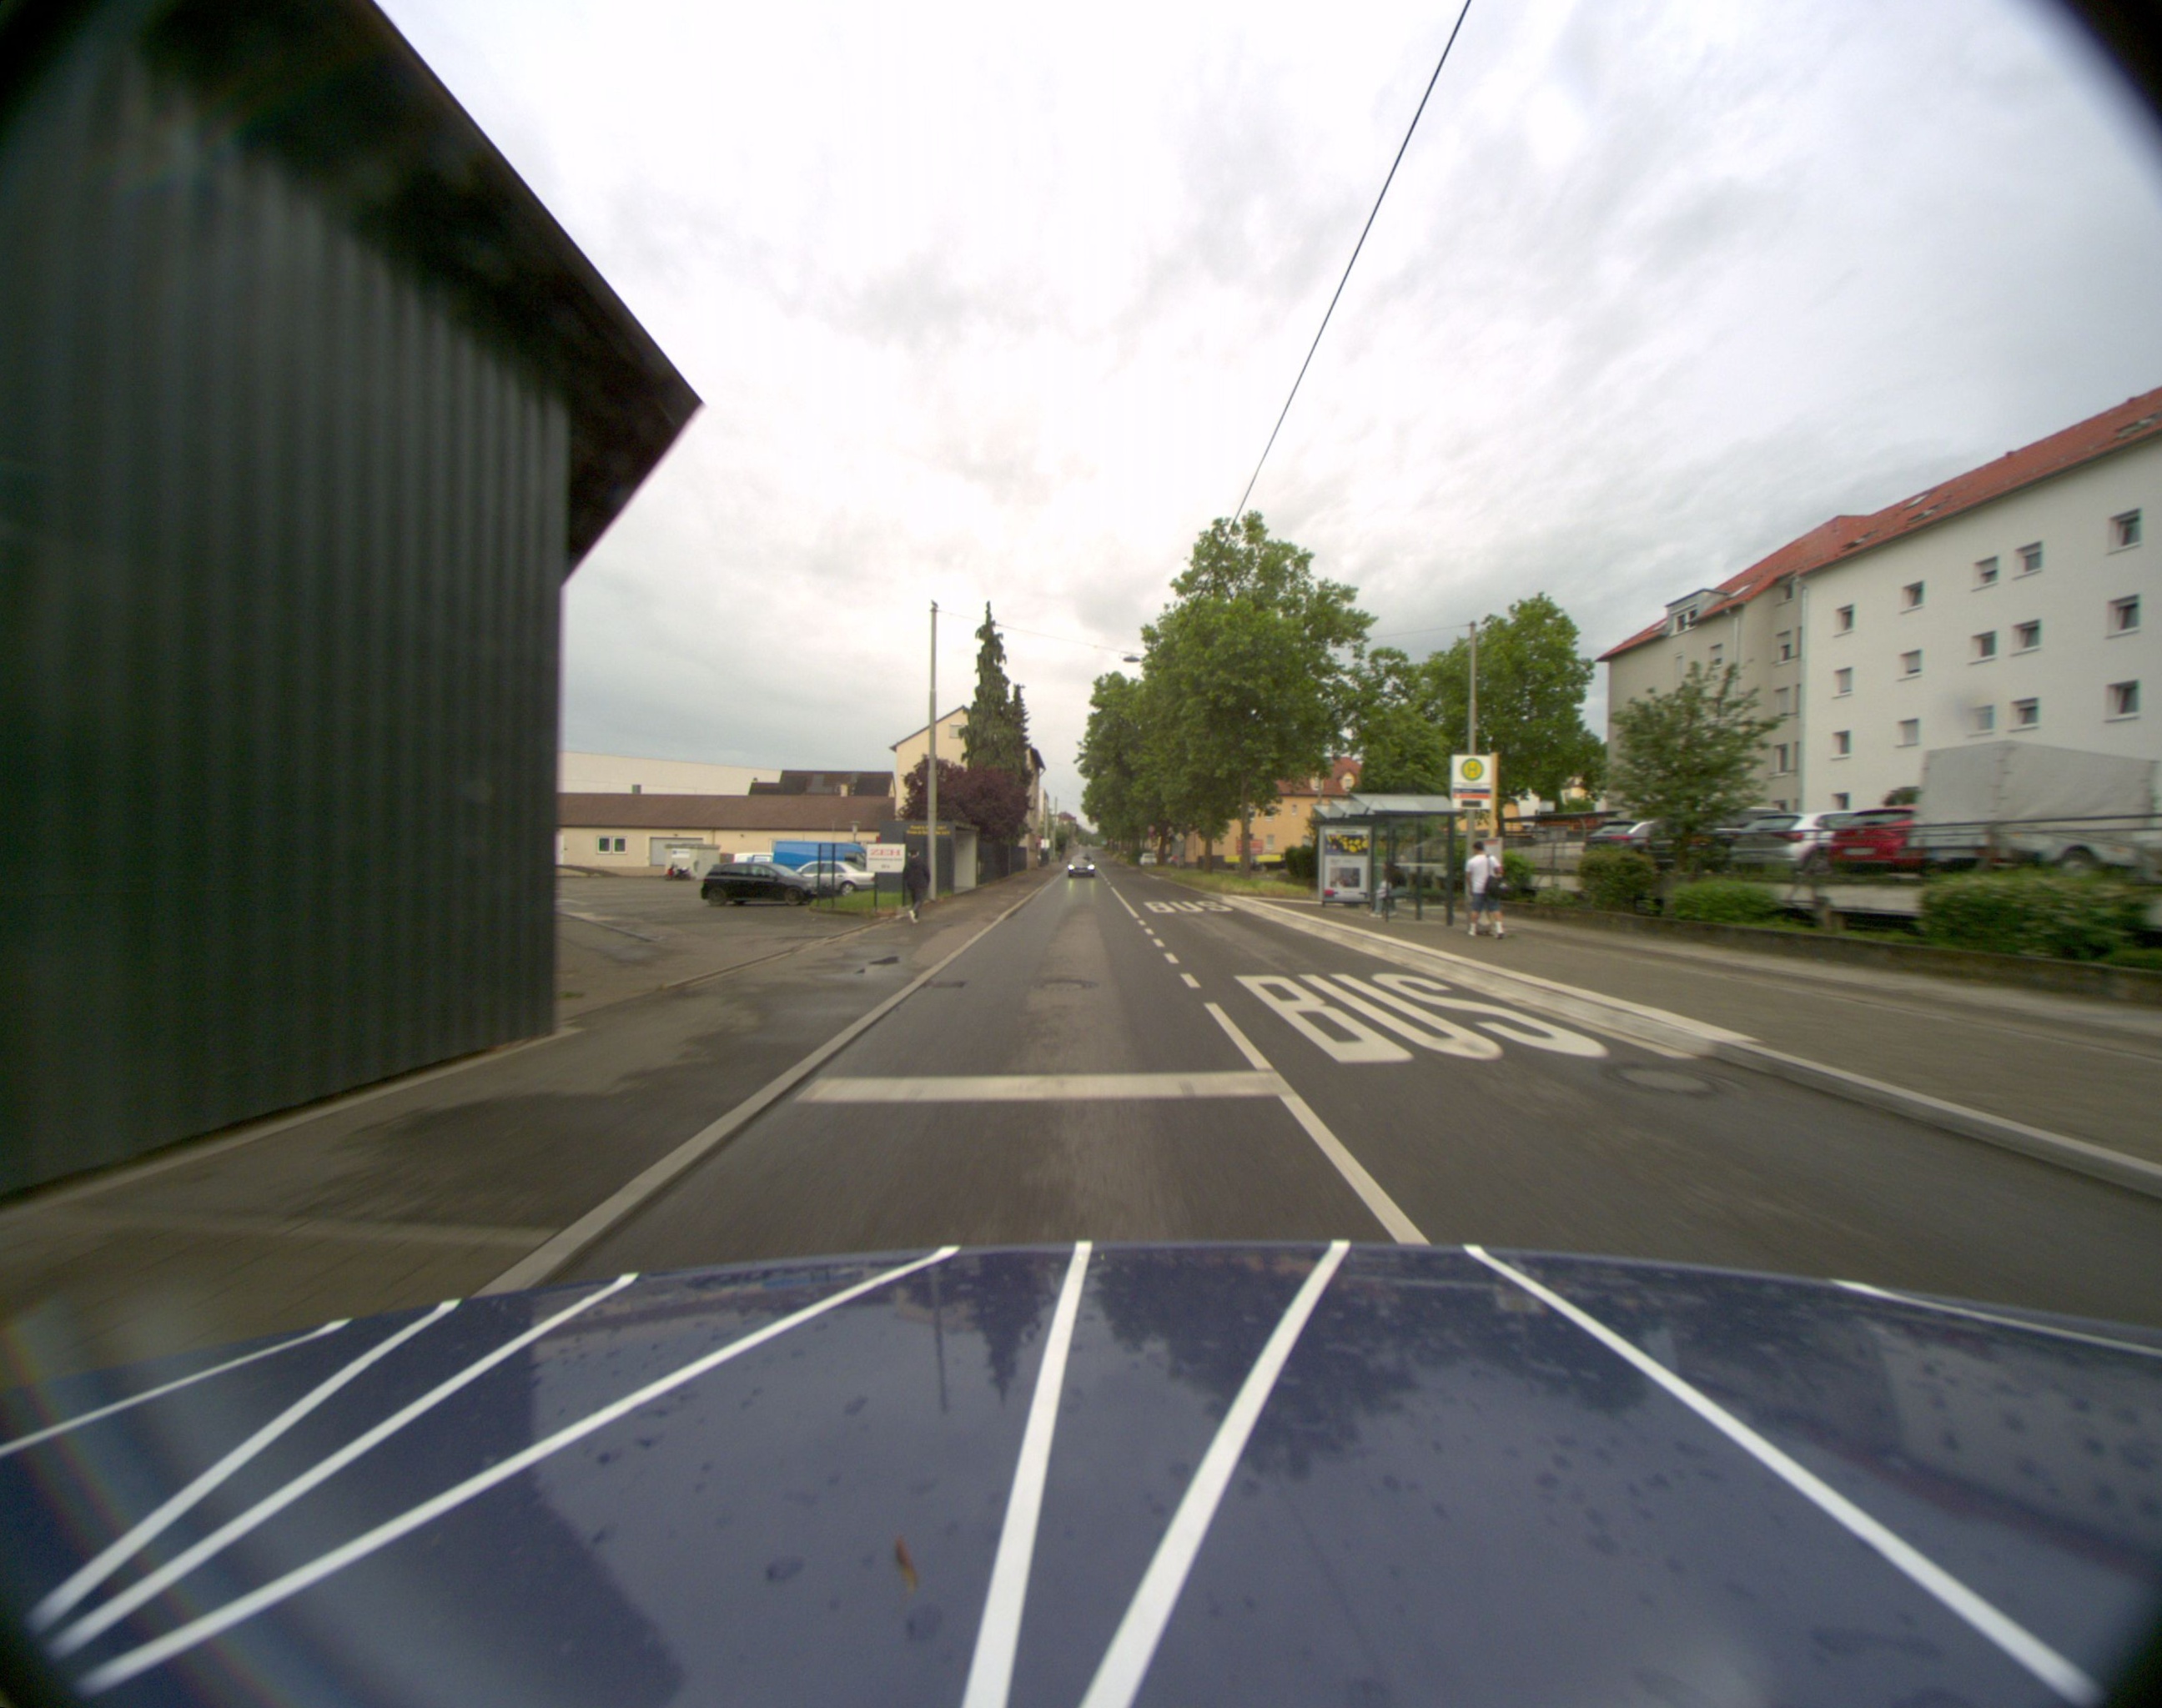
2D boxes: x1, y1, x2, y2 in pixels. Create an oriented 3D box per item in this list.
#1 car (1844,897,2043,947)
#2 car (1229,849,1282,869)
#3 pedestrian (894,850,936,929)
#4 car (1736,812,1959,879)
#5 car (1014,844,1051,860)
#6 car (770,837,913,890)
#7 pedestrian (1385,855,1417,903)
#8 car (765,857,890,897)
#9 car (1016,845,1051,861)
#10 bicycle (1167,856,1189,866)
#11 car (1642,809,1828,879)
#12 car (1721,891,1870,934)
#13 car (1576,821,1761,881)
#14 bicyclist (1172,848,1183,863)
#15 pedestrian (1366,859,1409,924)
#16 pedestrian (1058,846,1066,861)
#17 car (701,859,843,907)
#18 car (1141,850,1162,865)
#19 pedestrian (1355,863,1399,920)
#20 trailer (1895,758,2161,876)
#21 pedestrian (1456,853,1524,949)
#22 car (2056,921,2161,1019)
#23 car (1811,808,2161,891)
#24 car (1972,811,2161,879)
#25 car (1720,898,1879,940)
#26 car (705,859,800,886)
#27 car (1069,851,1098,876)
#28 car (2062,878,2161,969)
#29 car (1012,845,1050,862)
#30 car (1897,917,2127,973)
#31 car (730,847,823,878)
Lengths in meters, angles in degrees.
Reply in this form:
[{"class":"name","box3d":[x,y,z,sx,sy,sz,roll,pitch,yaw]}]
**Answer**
[{"class":"car","box3d":[27.057,2.103,23.962,3.996,1.388,1.887,0,1,3]},{"class":"car","box3d":[15.262,0.411,66.626,4.218,1.530,1.981,-2,2,-1]},{"class":"pedestrian","box3d":[-3.694,0.771,16.988,0.744,1.695,0.901,-1,2,-5]},{"class":"car","box3d":[15.707,-0.192,15.682,3.138,1.263,1.436,-1,2,0]},{"class":"car","box3d":[-5.756,-0.265,90.757,4.313,1.758,1.999,-1,2,0]},{"class":"car","box3d":[-10.326,0.390,33.087,5.582,2.198,2.000,0,0,-1]},{"class":"pedestrian","box3d":[11.203,0.865,26.611,0.757,1.602,0.834,-1,2,-4]},{"class":"car","box3d":[-10.085,0.901,30.481,4.390,1.522,1.793,0,2,-1]},{"class":"car","box3d":[-5.523,-0.119,88.424,3.958,1.714,1.791,-1,2,0]},{"class":"bicycle","box3d":[10.054,0.688,78.679,2.259,0.990,0.557,0,3,37]},{"class":"car","box3d":[15.436,-0.239,18.040,3.138,1.534,1.436,-1,2,0]},{"class":"car","box3d":[27.143,2.223,28.969,3.996,1.498,1.685,0,1,3]},{"class":"car","box3d":[16.023,-0.116,20.859,3.663,1.490,1.896,-1,2,-3]},{"class":"bicyclist","box3d":[9.986,0.180,78.707,0.814,1.544,0.837,1,3,37]},{"class":"pedestrian","box3d":[7.132,0.862,17.697,0.689,1.410,0.641,3,3,4]},{"class":"pedestrian","box3d":[-2.473,-0.047,98.308,1.045,1.887,0.900,0,2,1]},{"class":"car","box3d":[-10.306,0.947,25.521,3.996,1.415,1.784,-1,2,1]},{"class":"car","box3d":[7.607,0.373,82.375,1.790,1.542,4.351,0,0,0]},{"class":"pedestrian","box3d":[7.186,0.907,18.458,0.777,1.309,0.641,2,3,4]},{"class":"trailer","box3d":[14.434,-0.534,11.454,2.711,1.636,1.480,-1,1,1]},{"class":"pedestrian","box3d":[7.197,0.818,13.400,0.743,1.589,0.606,4,3,4]},{"class":"car","box3d":[19.460,1.910,12.799,3.978,1.396,1.589,-1,2,0]},{"class":"car","box3d":[15.988,-0.099,13.591,4.099,1.295,1.809,-1,2,0]},{"class":"car","box3d":[27.347,-0.231,20.596,3.900,1.740,2.000,0,1,3]},{"class":"car","box3d":[27.155,2.446,28.824,3.996,1.388,2.065,0,1,3]},{"class":"car","box3d":[-17.821,0.969,41.341,4.369,1.415,1.799,0,0,-4]},{"class":"car","box3d":[0.171,0.674,52.586,1.949,1.643,3.860,0,-1,0]},{"class":"car","box3d":[26.925,1.627,18.239,3.996,2.002,2.000,0,1,3]},{"class":"car","box3d":[-5.625,-0.070,86.081,4.077,1.727,1.869,-1,2,0]},{"class":"car","box3d":[26.875,2.605,22.077,3.996,1.388,2.065,0,1,3]},{"class":"car","box3d":[-17.713,0.498,44.371,4.610,1.684,1.998,1,2,-4]}]
